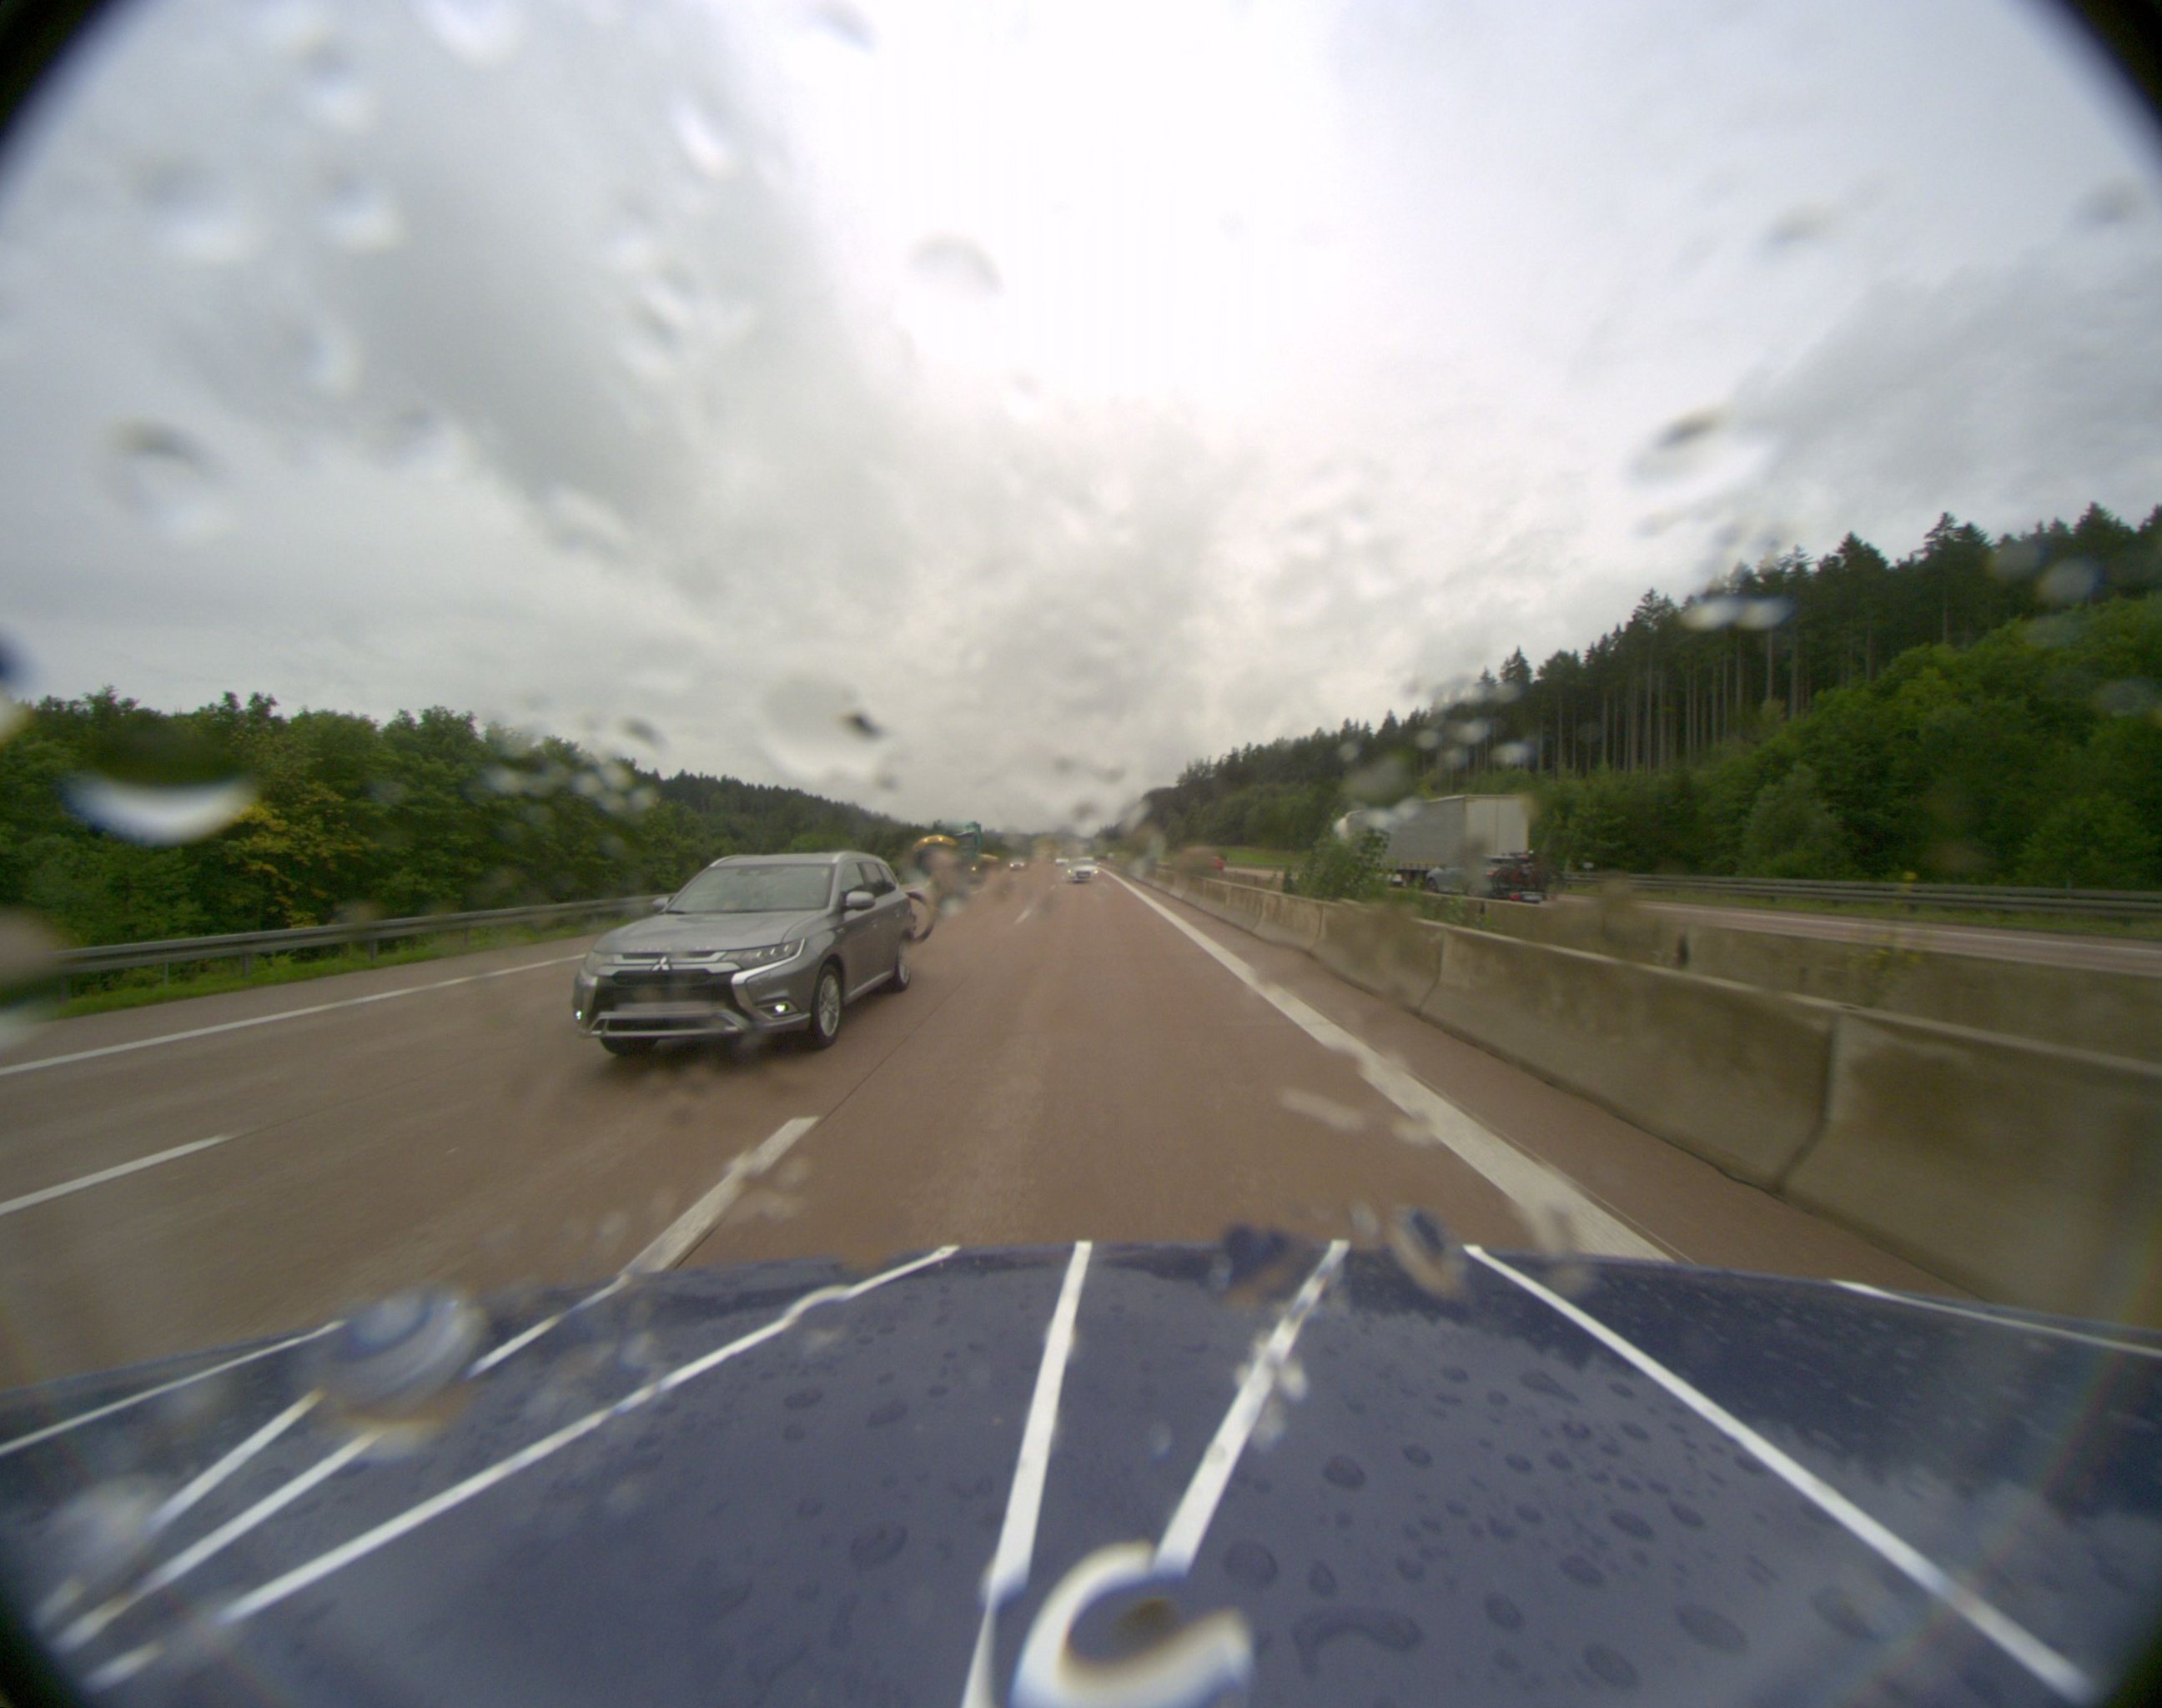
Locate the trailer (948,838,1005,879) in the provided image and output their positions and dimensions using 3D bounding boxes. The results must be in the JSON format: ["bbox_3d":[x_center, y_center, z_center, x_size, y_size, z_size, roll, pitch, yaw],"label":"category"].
[{"bbox_3d":[-7.633,0.277,57.070,2.889,2.660,11.396,-2,0,-1],"label":"trailer"}]

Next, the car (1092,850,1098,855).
[{"bbox_3d":[4.670,-0.433,247.033,1.870,1.542,4.807,-2,0,0],"label":"car"}]

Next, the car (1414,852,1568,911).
[{"bbox_3d":[12.251,0.733,23.257,1.696,1.548,5.676,1,0,1],"label":"car"}]

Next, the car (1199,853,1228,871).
[{"bbox_3d":[12.303,0.711,70.649,1.998,1.536,4.278,1,2,0],"label":"car"}]

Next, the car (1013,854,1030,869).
[{"bbox_3d":[-7.071,0.893,90.568,1.702,1.602,4.974,-1,1,-2],"label":"car"}]

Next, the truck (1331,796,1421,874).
[{"bbox_3d":[16.636,-1.067,43.306,2.775,4.152,6.000,0,2,0],"label":"truck"}]

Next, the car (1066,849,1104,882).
[{"bbox_3d":[0.176,0.610,44.405,1.999,1.623,4.929,-2,1,-1],"label":"car"}]

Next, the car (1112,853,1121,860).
[{"bbox_3d":[9.057,0.527,196.028,1.998,1.551,4.944,-2,1,0],"label":"car"}]

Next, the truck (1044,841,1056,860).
[{"bbox_3d":[-7.303,-0.829,179.813,2.610,4.190,6.247,-2,2,-1],"label":"truck"}]

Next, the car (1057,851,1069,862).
[{"bbox_3d":[-3.004,0.438,126.581,1.999,1.623,4.929,-2,1,-1],"label":"car"}]

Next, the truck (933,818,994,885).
[{"bbox_3d":[-7.445,-0.241,49.075,2.905,3.942,6.985,-2,2,-2],"label":"truck"}]

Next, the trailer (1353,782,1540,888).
[{"bbox_3d":[16.590,-0.898,36.129,2.746,4.117,12.752,1,1,0],"label":"trailer"}]

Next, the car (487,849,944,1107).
[{"bbox_3d":[-3.012,0.834,8.101,1.999,1.584,5.818,-2,1,0],"label":"car"}]

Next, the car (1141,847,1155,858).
[{"bbox_3d":[12.702,-0.309,144.419,2.286,1.851,5.726,-2,1,0],"label":"car"}]
